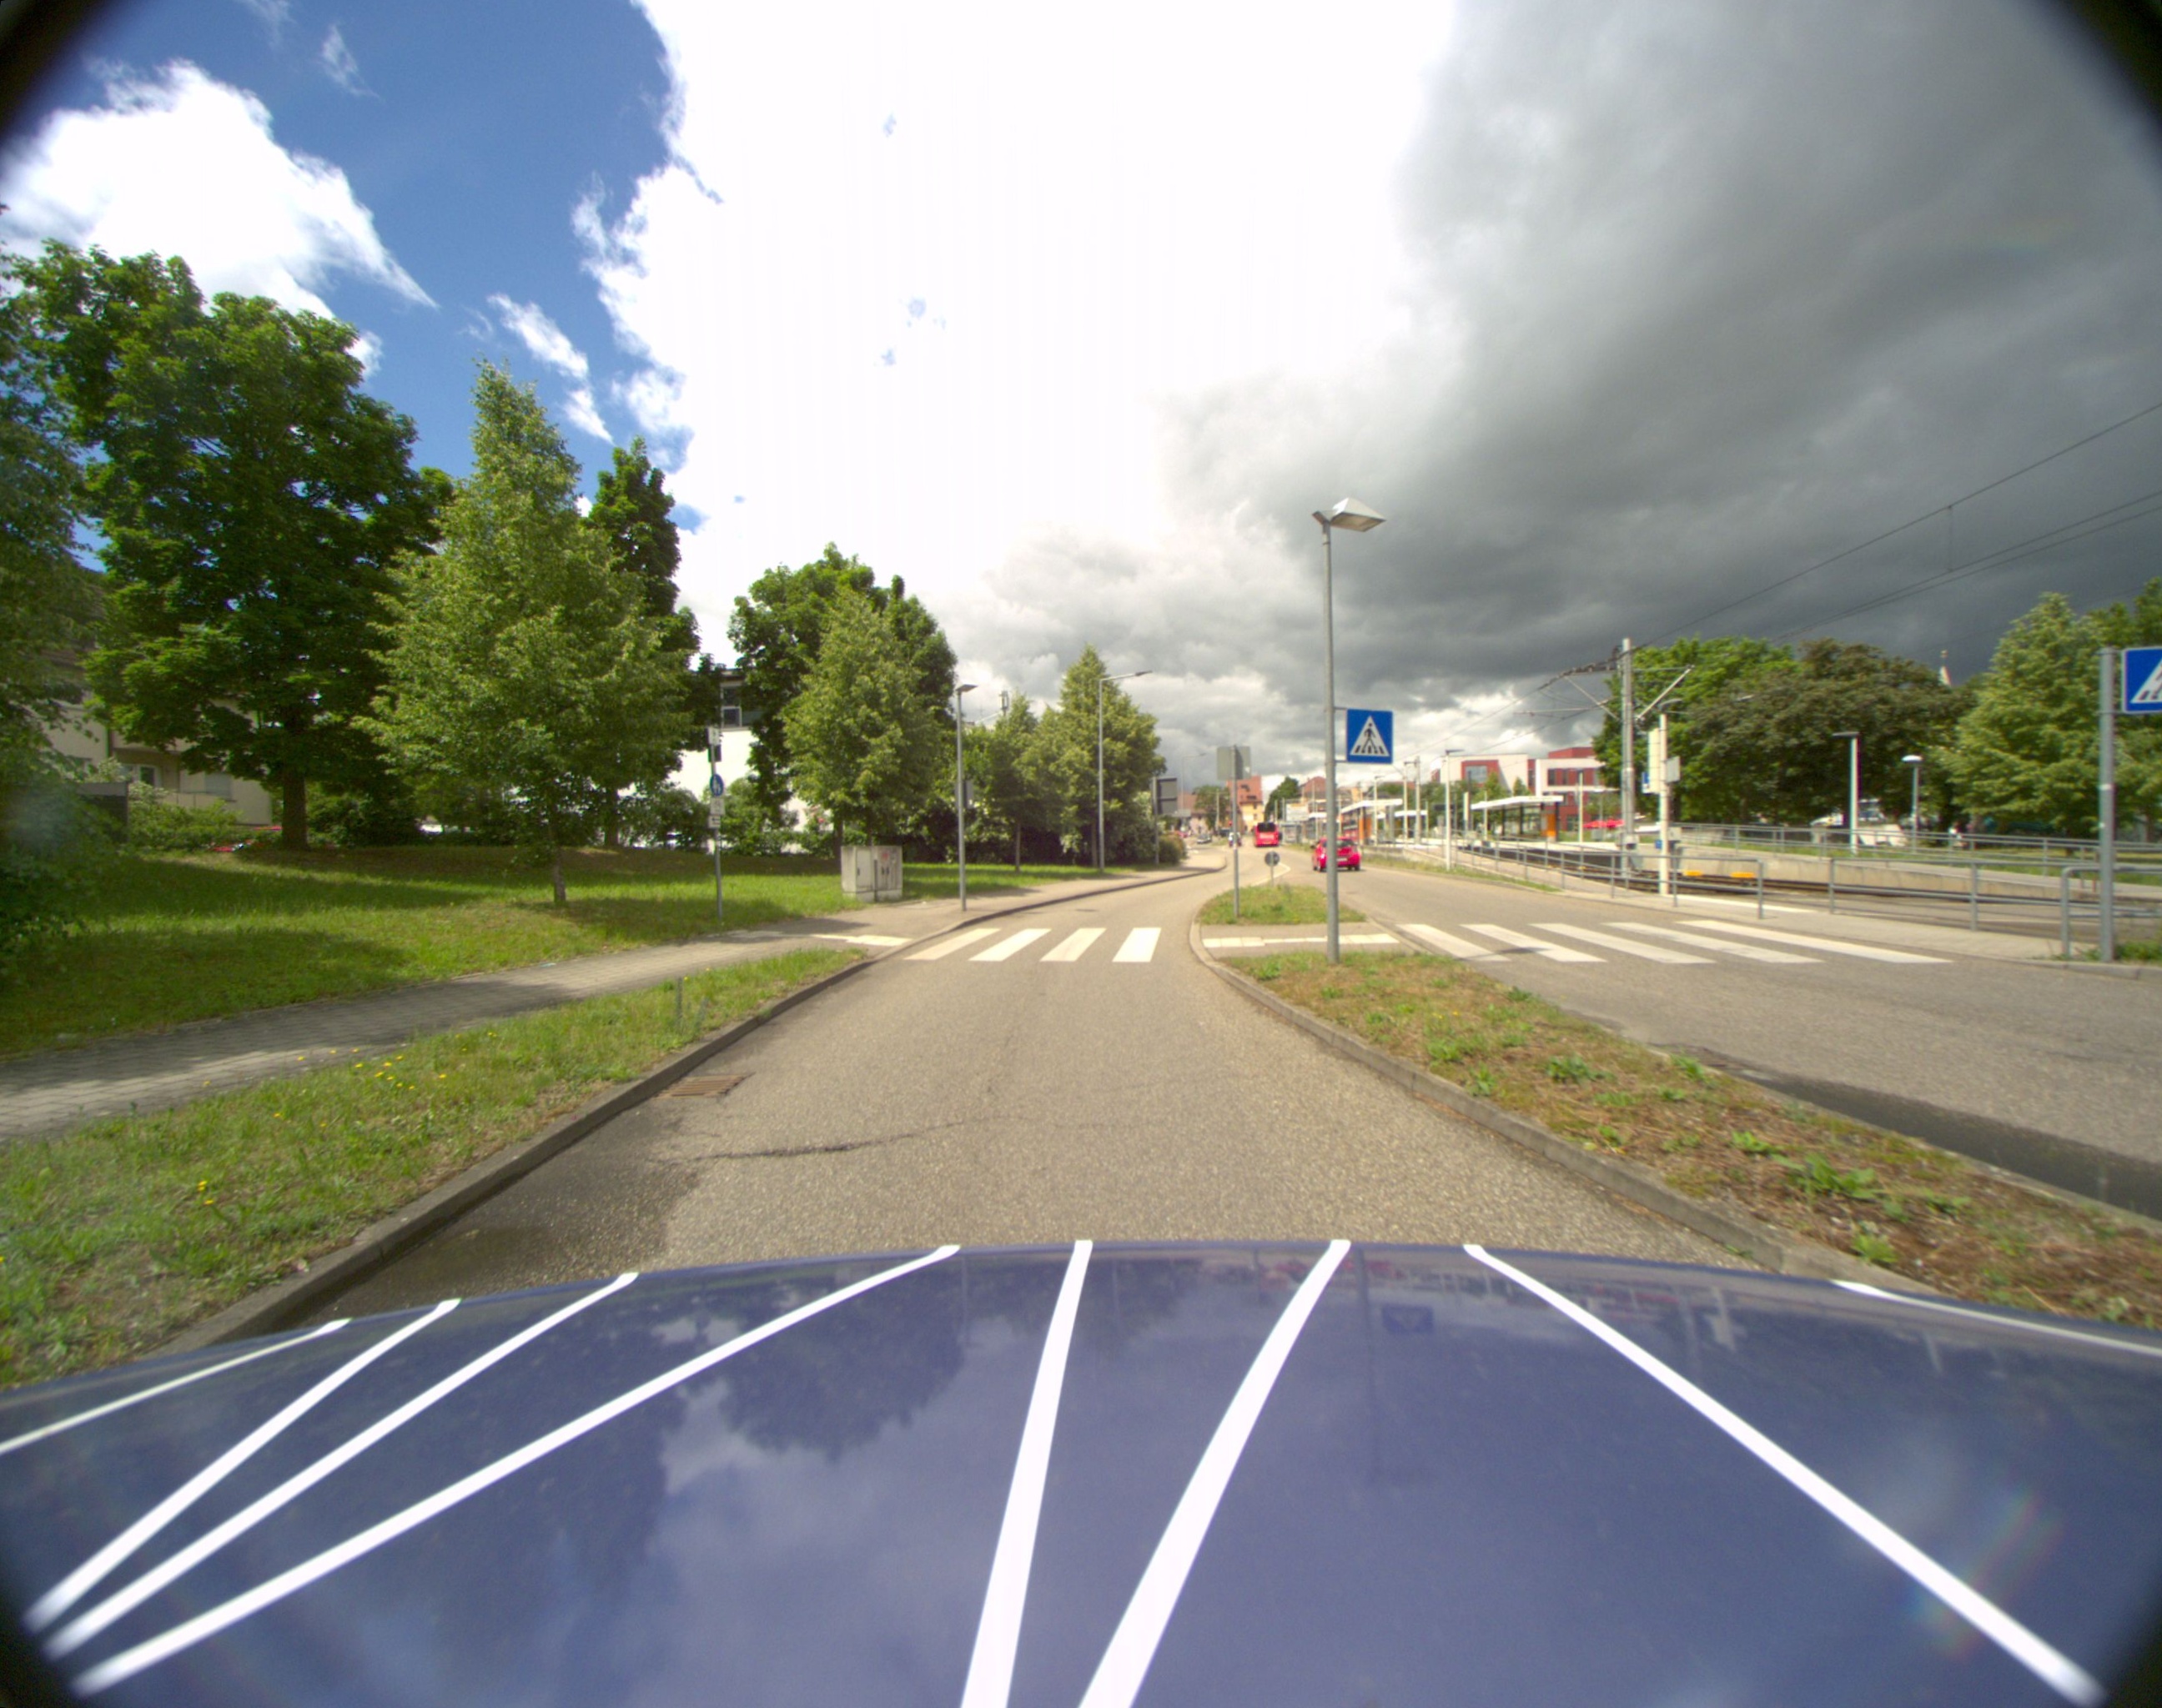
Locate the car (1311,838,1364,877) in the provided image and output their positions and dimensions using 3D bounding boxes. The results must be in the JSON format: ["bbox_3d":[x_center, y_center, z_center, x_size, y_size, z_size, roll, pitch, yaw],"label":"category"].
[{"bbox_3d":[10.993,0.117,32.723,1.737,1.501,3.517,-2,1,12],"label":"car"}]

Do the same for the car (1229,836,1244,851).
[{"bbox_3d":[20.661,-1.342,101.182,1.848,1.916,3.780,-1,1,11],"label":"car"}]

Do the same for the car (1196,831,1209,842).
[{"bbox_3d":[20.947,-2.989,131.221,1.997,1.849,4.003,-1,1,11],"label":"car"}]

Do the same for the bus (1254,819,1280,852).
[{"bbox_3d":[22.872,-2.200,93.696,2.920,3.864,10.387,-1,1,13],"label":"bus"}]
